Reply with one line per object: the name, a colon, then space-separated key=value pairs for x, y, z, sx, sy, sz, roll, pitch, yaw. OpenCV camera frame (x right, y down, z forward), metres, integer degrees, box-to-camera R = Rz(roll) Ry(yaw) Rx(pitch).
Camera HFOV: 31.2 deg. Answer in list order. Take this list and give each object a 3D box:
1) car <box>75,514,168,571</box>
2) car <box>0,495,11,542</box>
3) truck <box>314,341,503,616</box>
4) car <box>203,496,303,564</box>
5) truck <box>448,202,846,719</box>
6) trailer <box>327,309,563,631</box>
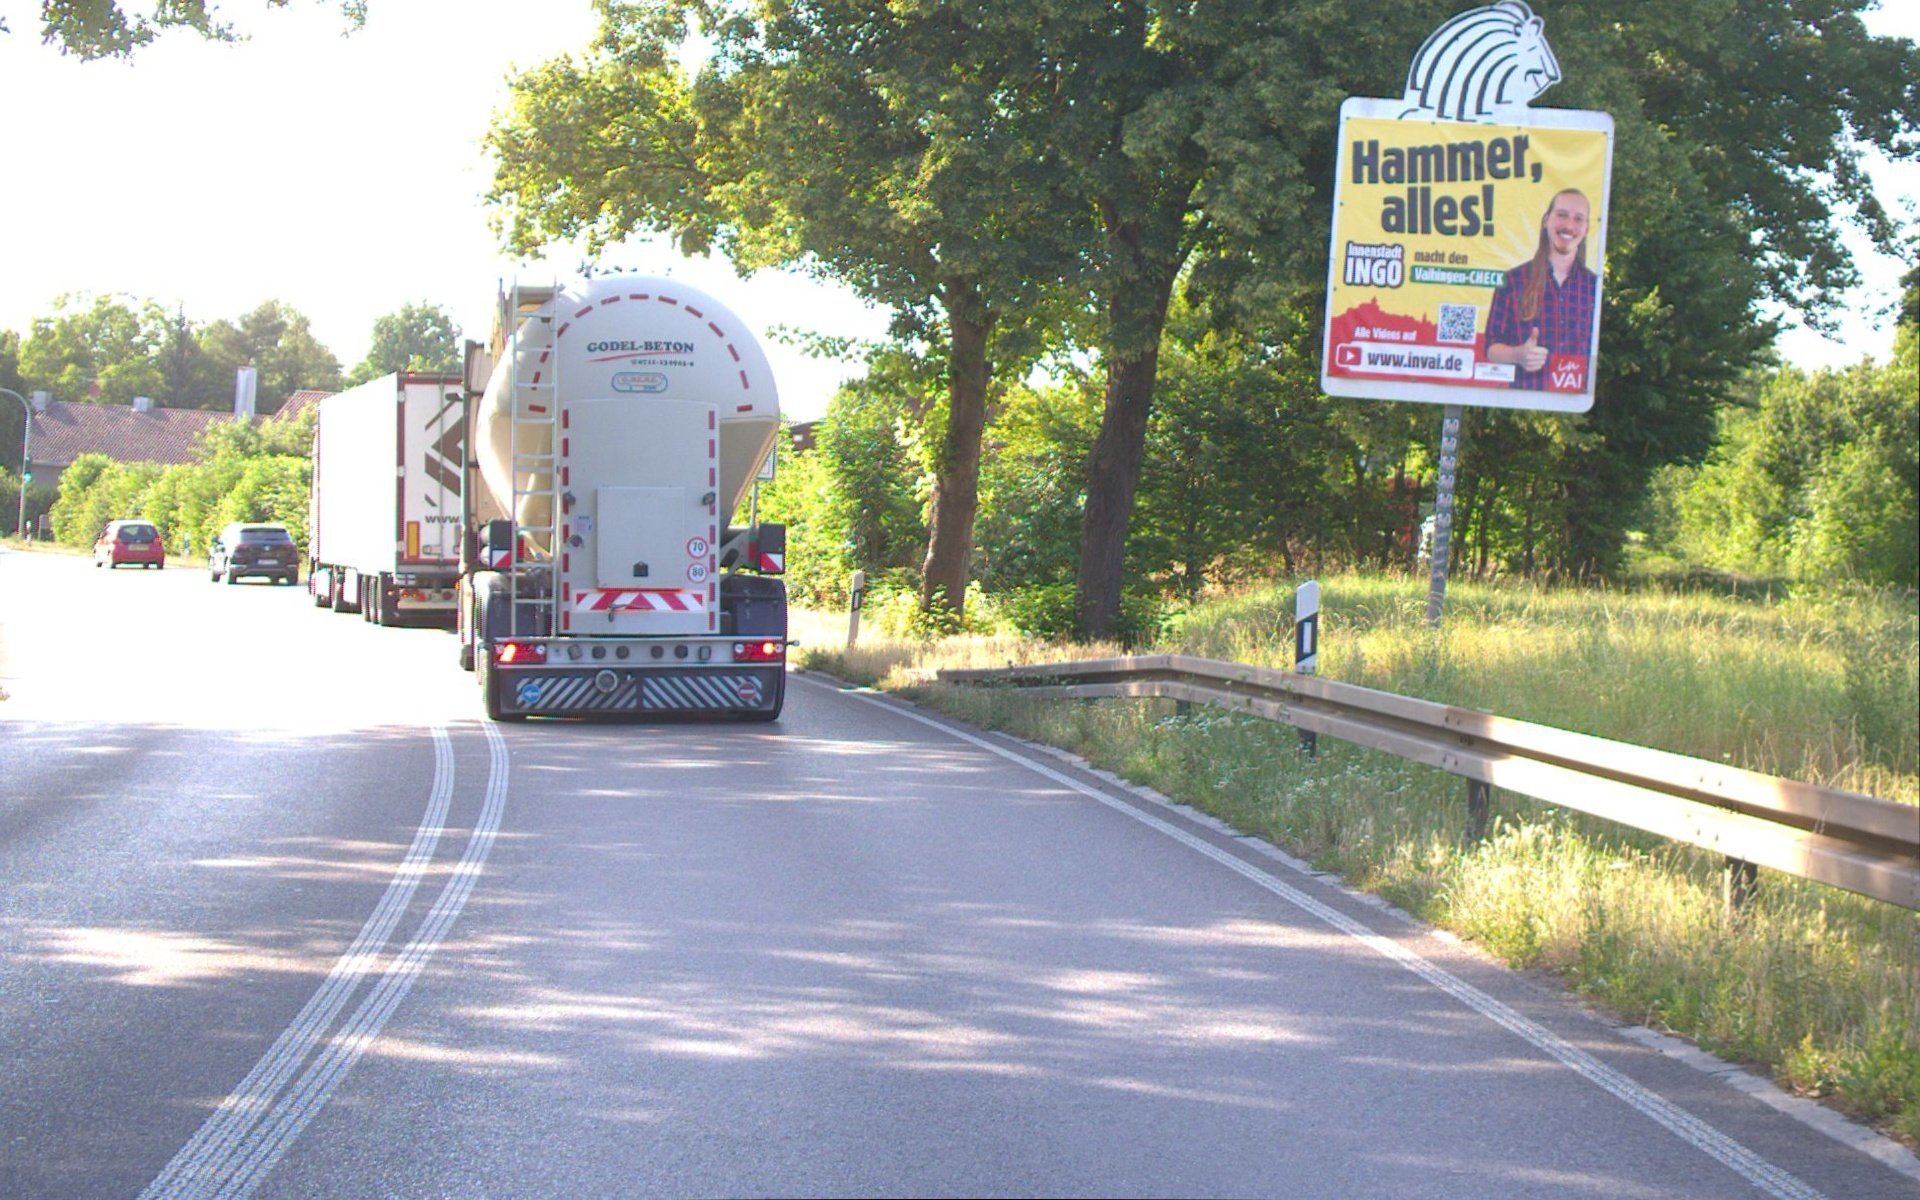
car: x=-25.460 y=-1.737 z=104.282 sx=2.299 sy=1.650 sz=4.416 roll=1 pitch=1 yaw=-19
car: x=-35.811 y=-2.972 z=124.903 sx=1.841 sy=1.650 sz=4.001 roll=1 pitch=1 yaw=-26
truck: x=-10.516 y=-2.219 z=65.079 sx=2.962 sy=4.870 sz=6.432 roll=1 pitch=0 yaw=-13
car: x=-18.112 y=-1.772 z=87.976 sx=1.993 sy=1.650 sz=4.001 roll=1 pitch=1 yaw=-19
truck: x=-3.412 y=-1.196 z=33.931 sx=2.975 sy=4.161 sz=11.665 roll=1 pitch=0 yaw=-10
trailer: x=-8.800 y=-2.046 z=57.715 sx=2.963 sy=4.865 sz=10.291 roll=1 pitch=0 yaw=-13
